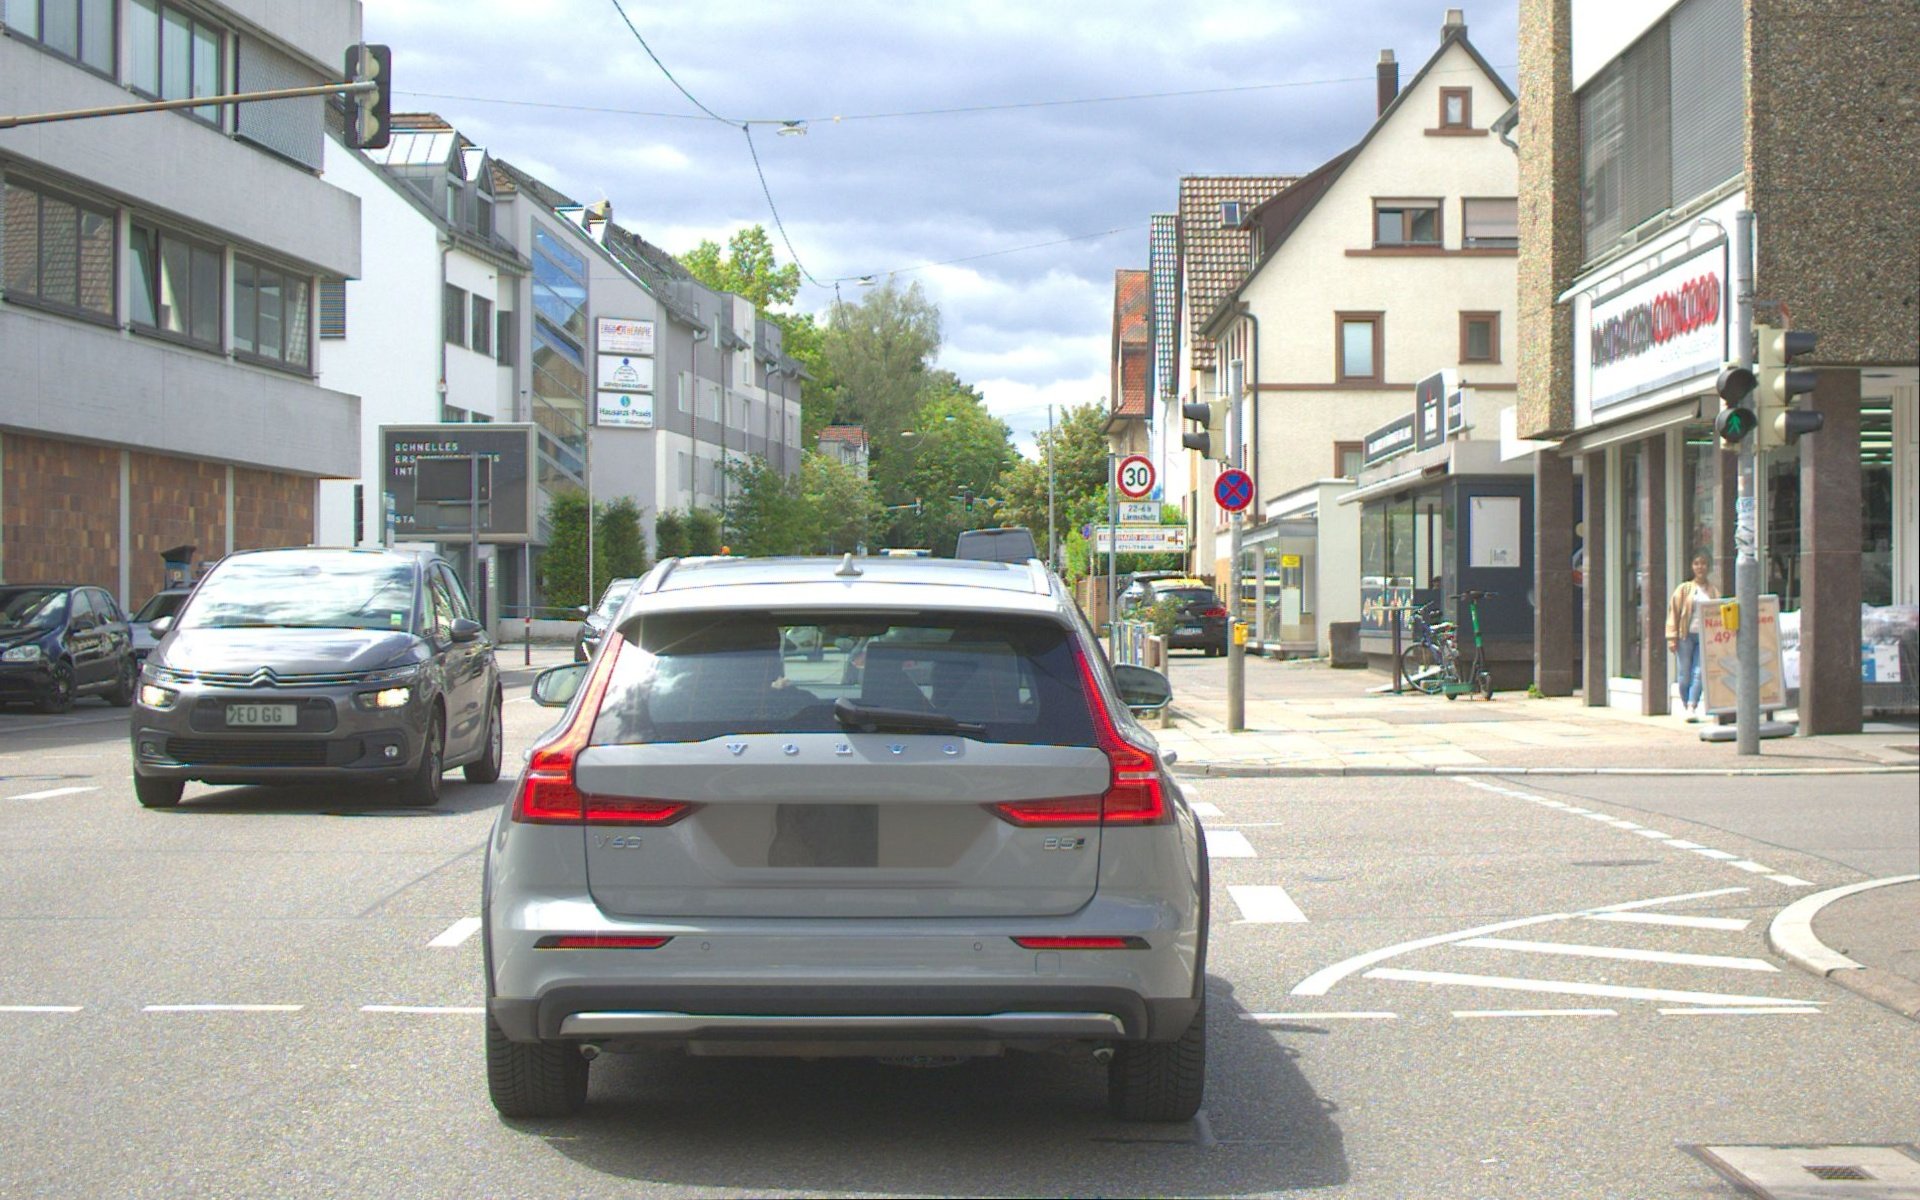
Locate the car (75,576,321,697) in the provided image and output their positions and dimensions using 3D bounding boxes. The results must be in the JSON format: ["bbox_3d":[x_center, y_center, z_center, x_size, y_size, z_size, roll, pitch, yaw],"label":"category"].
[{"bbox_3d":[-9.857,0.434,44.807,1.904,1.438,4.442,2,1,4],"label":"car"}]

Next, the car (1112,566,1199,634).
[{"bbox_3d":[4.615,0.012,81.559,1.883,1.495,3.971,1,-1,1],"label":"car"}]

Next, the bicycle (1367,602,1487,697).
[{"bbox_3d":[5.850,0.605,43.213,0.554,1.140,2.301,-1,0,-18],"label":"bicycle"}]

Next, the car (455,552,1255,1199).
[{"bbox_3d":[-0.261,0.613,9.924,1.836,1.481,4.000,0,1,-1],"label":"car"}]

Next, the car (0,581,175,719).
[{"bbox_3d":[-10.454,0.528,39.255,1.785,1.459,4.086,2,0,4],"label":"car"}]

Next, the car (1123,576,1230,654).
[{"bbox_3d":[4.249,0.321,68.057,1.710,1.459,4.000,1,-1,-2],"label":"car"}]

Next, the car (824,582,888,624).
[{"bbox_3d":[-3.613,0.090,120.225,1.762,1.421,3.999,-1,0,5],"label":"car"}]

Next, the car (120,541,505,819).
[{"bbox_3d":[-4.010,0.450,21.911,1.789,1.584,4.101,-1,0,-2],"label":"car"}]

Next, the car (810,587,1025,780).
[{"bbox_3d":[-0.345,0.652,28.488,1.650,1.477,3.607,1,0,0],"label":"car"}]

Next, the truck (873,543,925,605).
[{"bbox_3d":[-2.901,-1.256,165.000,2.276,2.877,7.079,0,0,1],"label":"truck"}]

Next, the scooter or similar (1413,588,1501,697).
[{"bbox_3d":[5.845,0.501,40.469,0.340,1.249,1.246,-2,0,-26],"label":"scooter or similar"}]

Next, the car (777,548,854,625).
[{"bbox_3d":[-3.723,-0.338,89.085,1.838,1.911,4.156,1,0,0],"label":"car"}]

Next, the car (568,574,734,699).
[{"bbox_3d":[-3.864,0.426,43.471,1.683,1.492,3.967,-1,0,1],"label":"car"}]

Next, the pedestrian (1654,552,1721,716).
[{"bbox_3d":[6.590,0.308,31.128,0.504,1.454,0.499,-3,-1,13],"label":"pedestrian"}]

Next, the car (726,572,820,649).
[{"bbox_3d":[-3.890,0.200,71.978,1.668,1.548,4.215,0,0,1],"label":"car"}]

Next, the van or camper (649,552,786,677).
[{"bbox_3d":[-3.850,0.196,55.241,1.864,1.891,4.692,0,1,0],"label":"van or camper"}]

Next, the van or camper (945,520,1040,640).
[{"bbox_3d":[0.758,-0.467,80.034,2.123,2.677,4.781,0,0,1],"label":"van or camper"}]

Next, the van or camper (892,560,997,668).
[{"bbox_3d":[-0.285,0.280,61.622,1.819,1.829,4.000,0,-2,0],"label":"van or camper"}]
